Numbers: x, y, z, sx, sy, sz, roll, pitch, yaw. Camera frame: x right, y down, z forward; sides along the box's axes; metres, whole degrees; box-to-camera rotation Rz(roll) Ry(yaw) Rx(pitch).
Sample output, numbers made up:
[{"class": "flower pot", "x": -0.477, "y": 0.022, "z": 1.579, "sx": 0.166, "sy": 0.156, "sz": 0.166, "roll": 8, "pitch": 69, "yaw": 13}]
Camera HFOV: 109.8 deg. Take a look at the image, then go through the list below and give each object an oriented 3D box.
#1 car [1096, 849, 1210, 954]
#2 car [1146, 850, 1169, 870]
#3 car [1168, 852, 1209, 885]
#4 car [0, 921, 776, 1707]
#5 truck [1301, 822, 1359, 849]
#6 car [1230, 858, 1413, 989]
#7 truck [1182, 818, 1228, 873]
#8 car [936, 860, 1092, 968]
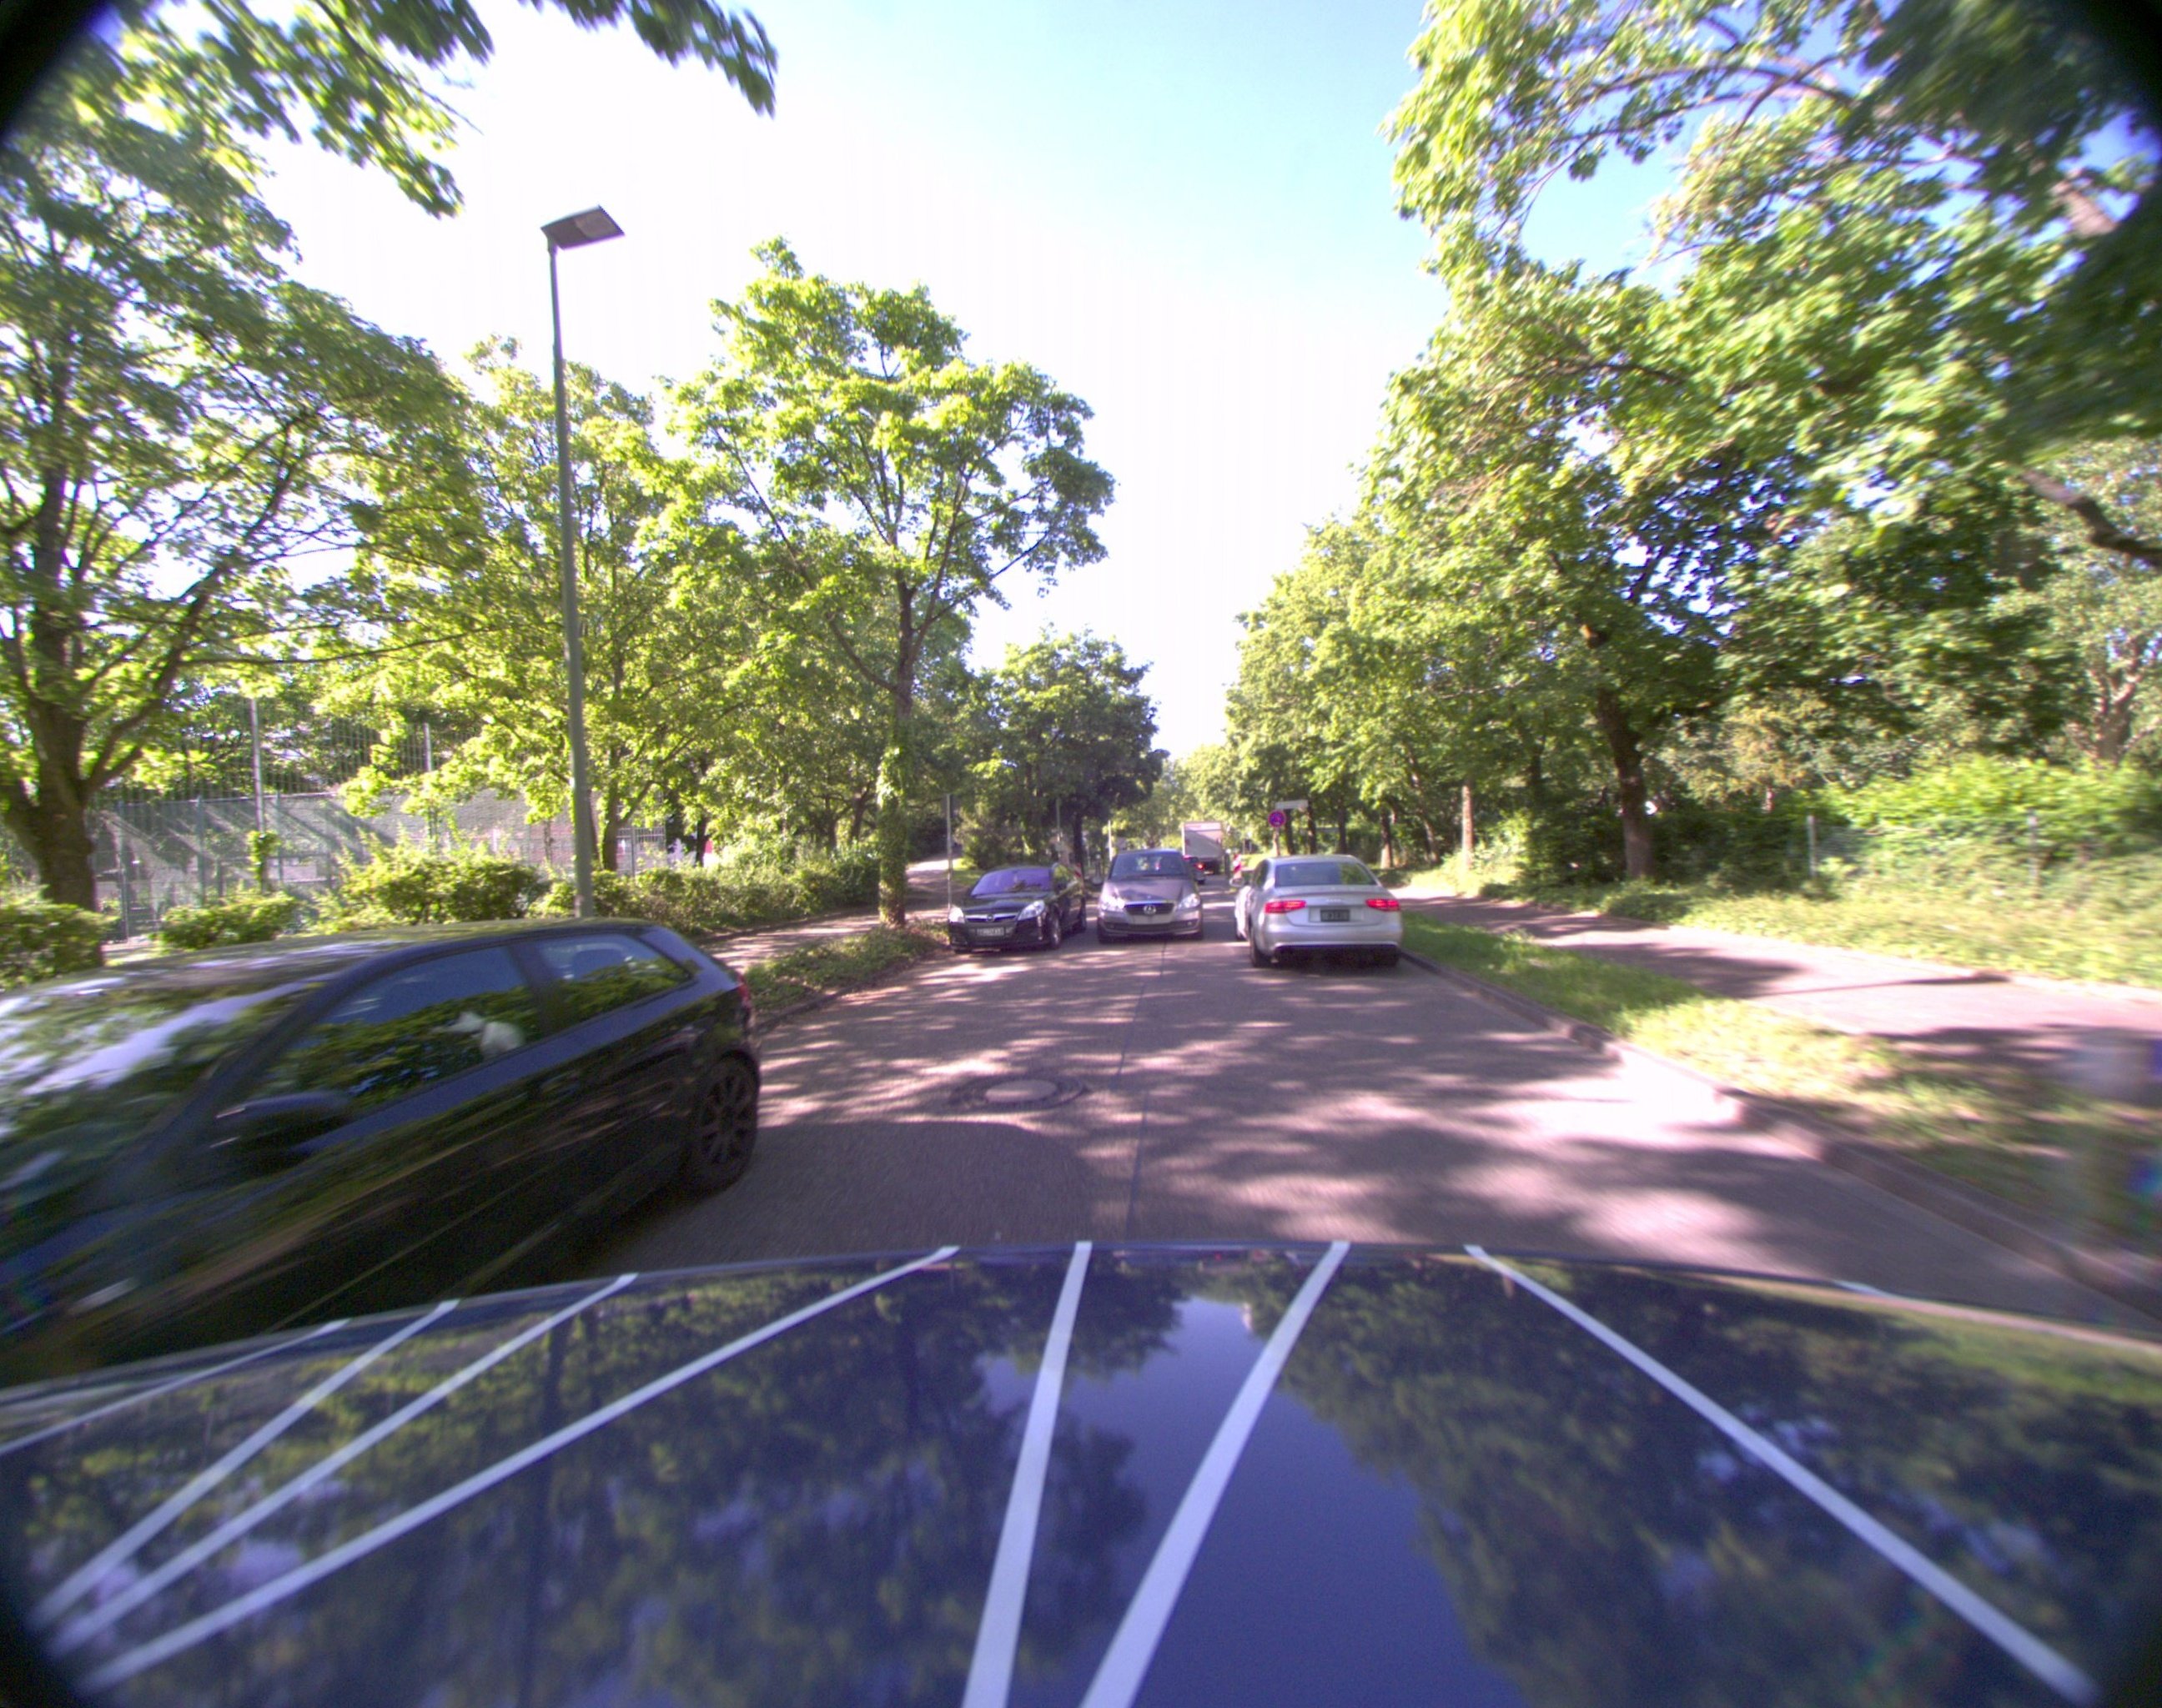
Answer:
[{"class": "car", "x": 1.325, "y": 0.755, "z": 14.077, "sx": 1.733, "sy": 1.578, "sz": 4.001, "roll": -3, "pitch": 0, "yaw": 5}, {"class": "car", "x": 5.595, "y": 0.414, "z": 55.290, "sx": 1.604, "sy": 1.418, "sz": 3.653, "roll": -1, "pitch": 0, "yaw": 6}, {"class": "car", "x": 5.150, "y": 0.664, "z": 36.917, "sx": 1.759, "sy": 1.446, "sz": 4.244, "roll": -1, "pitch": 0, "yaw": 6}, {"class": "car", "x": -2.661, "y": 1.121, "z": 2.146, "sx": 1.643, "sy": 1.412, "sz": 4.001, "roll": -4, "pitch": 0, "yaw": 5}, {"class": "truck", "x": 20.068, "y": -1.457, "z": 61.298, "sx": 3.995, "sy": 2.002, "sz": 2.205, "roll": -2, "pitch": 0, "yaw": 5}, {"class": "car", "x": 3.074, "y": 0.805, "z": 10.532, "sx": 1.790, "sy": 1.408, "sz": 4.107, "roll": -1, "pitch": 0, "yaw": 9}, {"class": "truck", "x": 8.915, "y": -0.585, "z": 55.273, "sx": 2.740, "sy": 3.620, "sz": 8.105, "roll": -3, "pitch": 0, "yaw": 7}, {"class": "car", "x": -1.017, "y": 0.944, "z": 13.663, "sx": 1.752, "sy": 1.472, "sz": 4.032, "roll": -4, "pitch": 1, "yaw": 9}]
